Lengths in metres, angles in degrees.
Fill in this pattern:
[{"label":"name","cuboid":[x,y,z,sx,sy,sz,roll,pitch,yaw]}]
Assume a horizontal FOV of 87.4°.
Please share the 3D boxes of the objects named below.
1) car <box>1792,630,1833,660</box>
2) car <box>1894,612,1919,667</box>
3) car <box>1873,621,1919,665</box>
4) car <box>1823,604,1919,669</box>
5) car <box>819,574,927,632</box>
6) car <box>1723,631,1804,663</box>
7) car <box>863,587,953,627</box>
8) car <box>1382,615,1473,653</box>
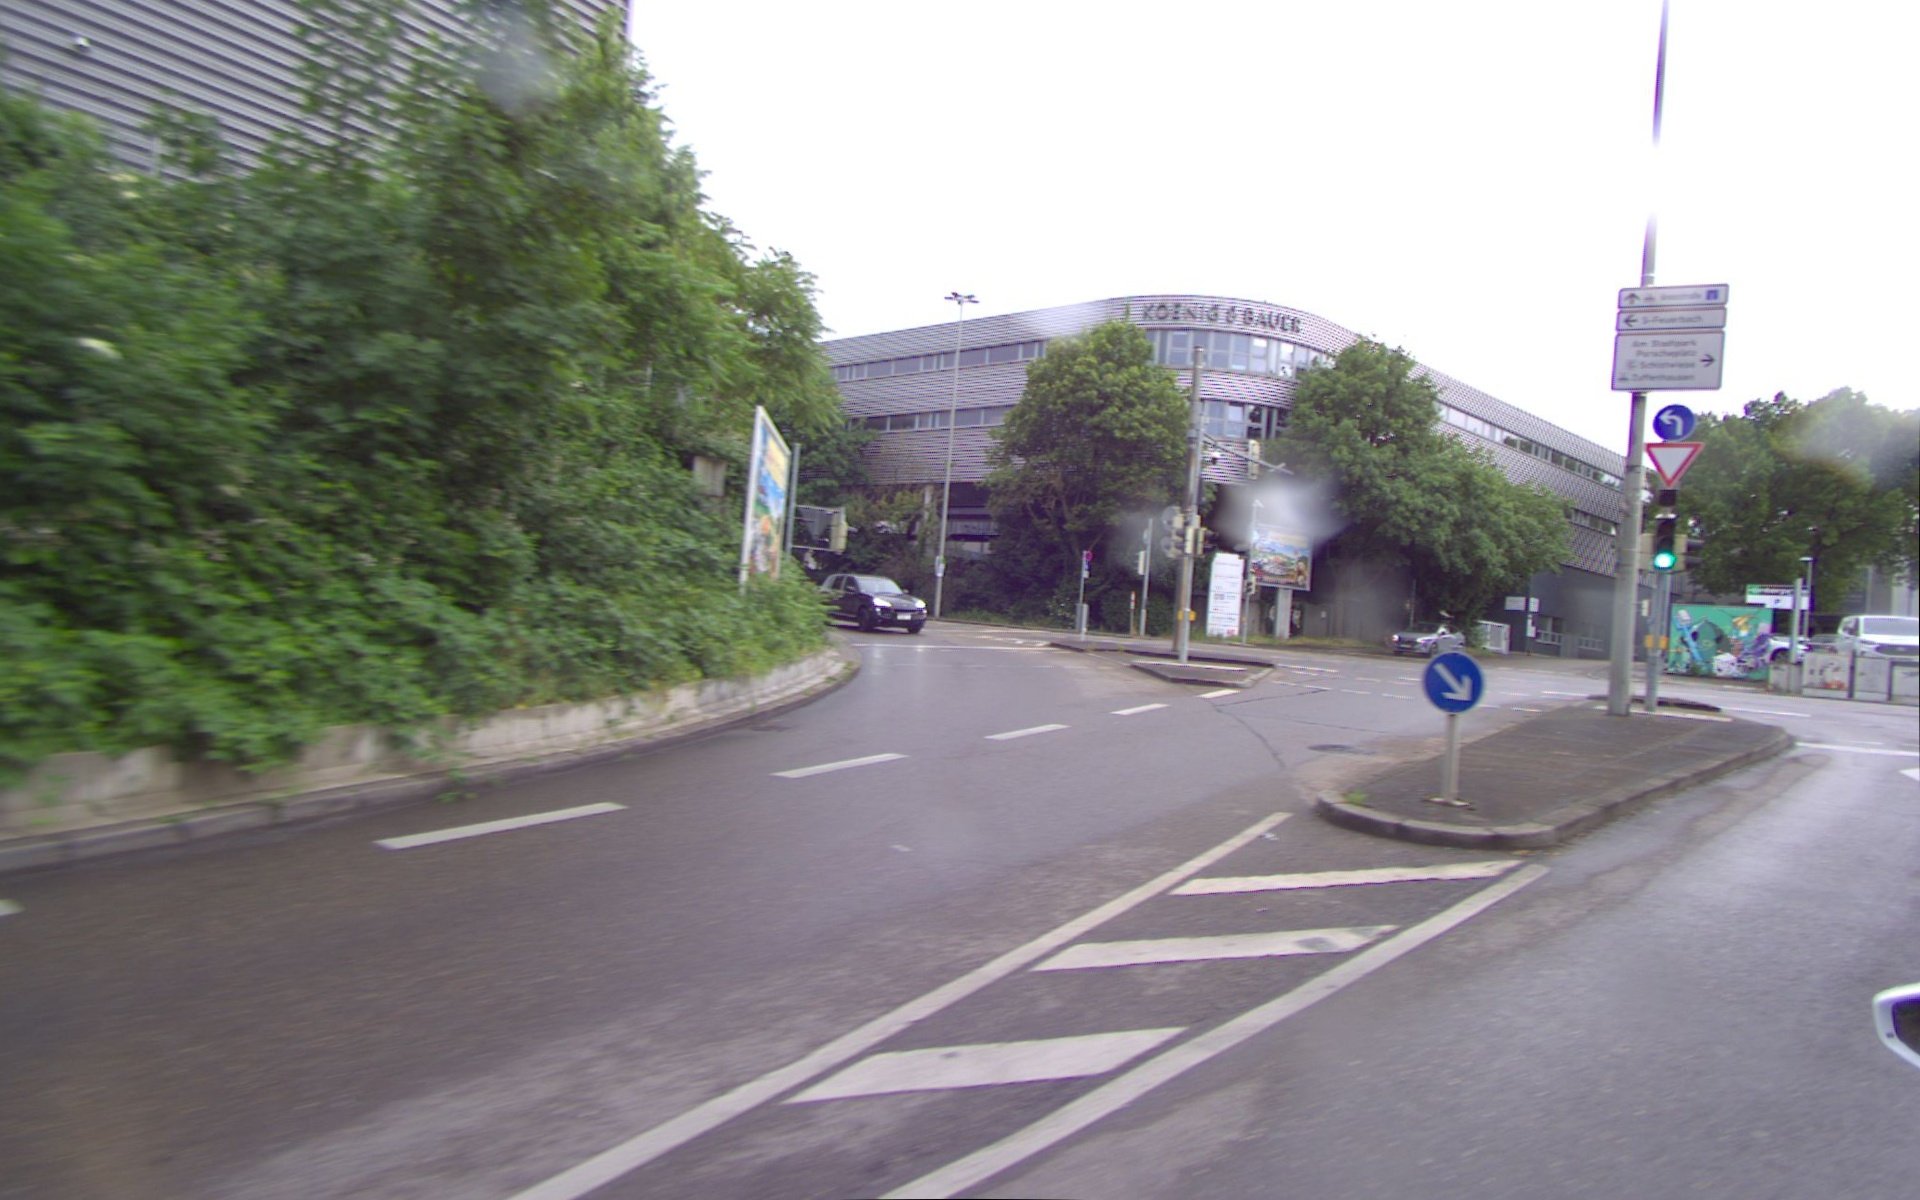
[{"label":"car","cuboid":[43.724,2.311,51.525,2.321,1.320,1.198,6,-2,-40]},{"label":"car","cuboid":[47.355,1.985,47.903,1.642,2.530,3.937,6,-2,-42]},{"label":"car","cuboid":[44.802,2.063,45.957,1.729,1.885,4.257,6,-2,-42]},{"label":"car","cuboid":[30.923,1.282,33.693,2.182,1.825,5.360,4,-2,33]},{"label":"car","cuboid":[-2.763,0.041,30.861,1.927,1.564,4.183,2,1,-25]},{"label":"car","cuboid":[35.321,2.063,44.229,2.678,1.119,1.194,4,-2,36]},{"label":"car","cuboid":[-2.011,0.239,37.818,1.583,1.276,3.717,2,1,-37]},{"label":"car","cuboid":[21.787,1.582,46.793,4.342,1.621,2.013,2,0,-37]}]
